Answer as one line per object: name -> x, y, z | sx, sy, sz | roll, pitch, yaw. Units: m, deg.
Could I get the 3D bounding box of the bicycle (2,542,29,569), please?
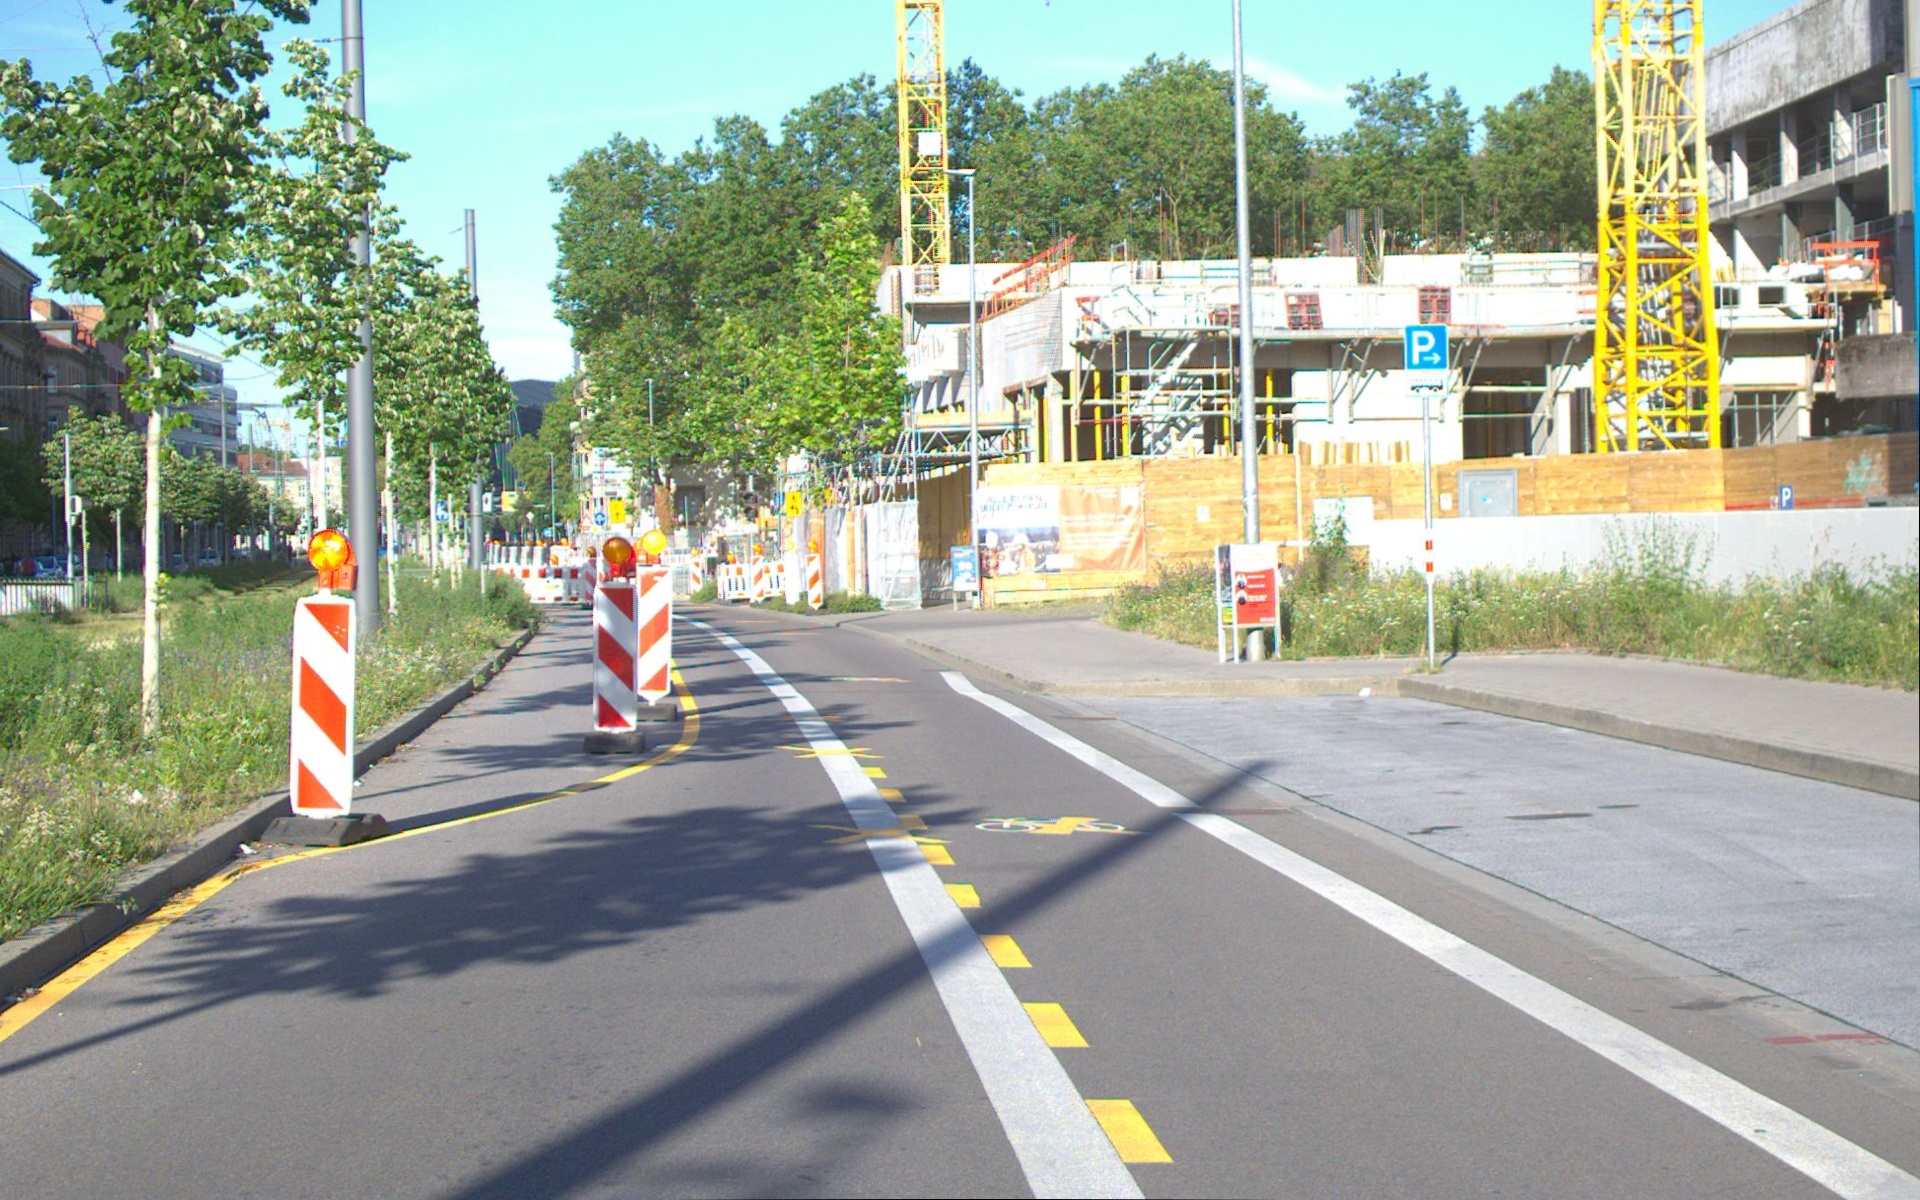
bicycle -> -34.224, -1.621, 124.569 | 0.695, 0.974, 1.827 | -1, 1, -8

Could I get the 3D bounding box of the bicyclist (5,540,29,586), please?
bicyclist -> -34.300, -1.338, 125.037 | 0.695, 1.652, 0.882 | -1, 1, -8

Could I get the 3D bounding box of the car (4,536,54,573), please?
car -> -40.534, -2.006, 149.741 | 1.566, 1.557, 4.716 | -1, 1, -9

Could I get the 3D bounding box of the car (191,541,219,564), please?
car -> -51.455, -3.235, 234.374 | 1.594, 1.478, 3.624 | -1, 1, -8
